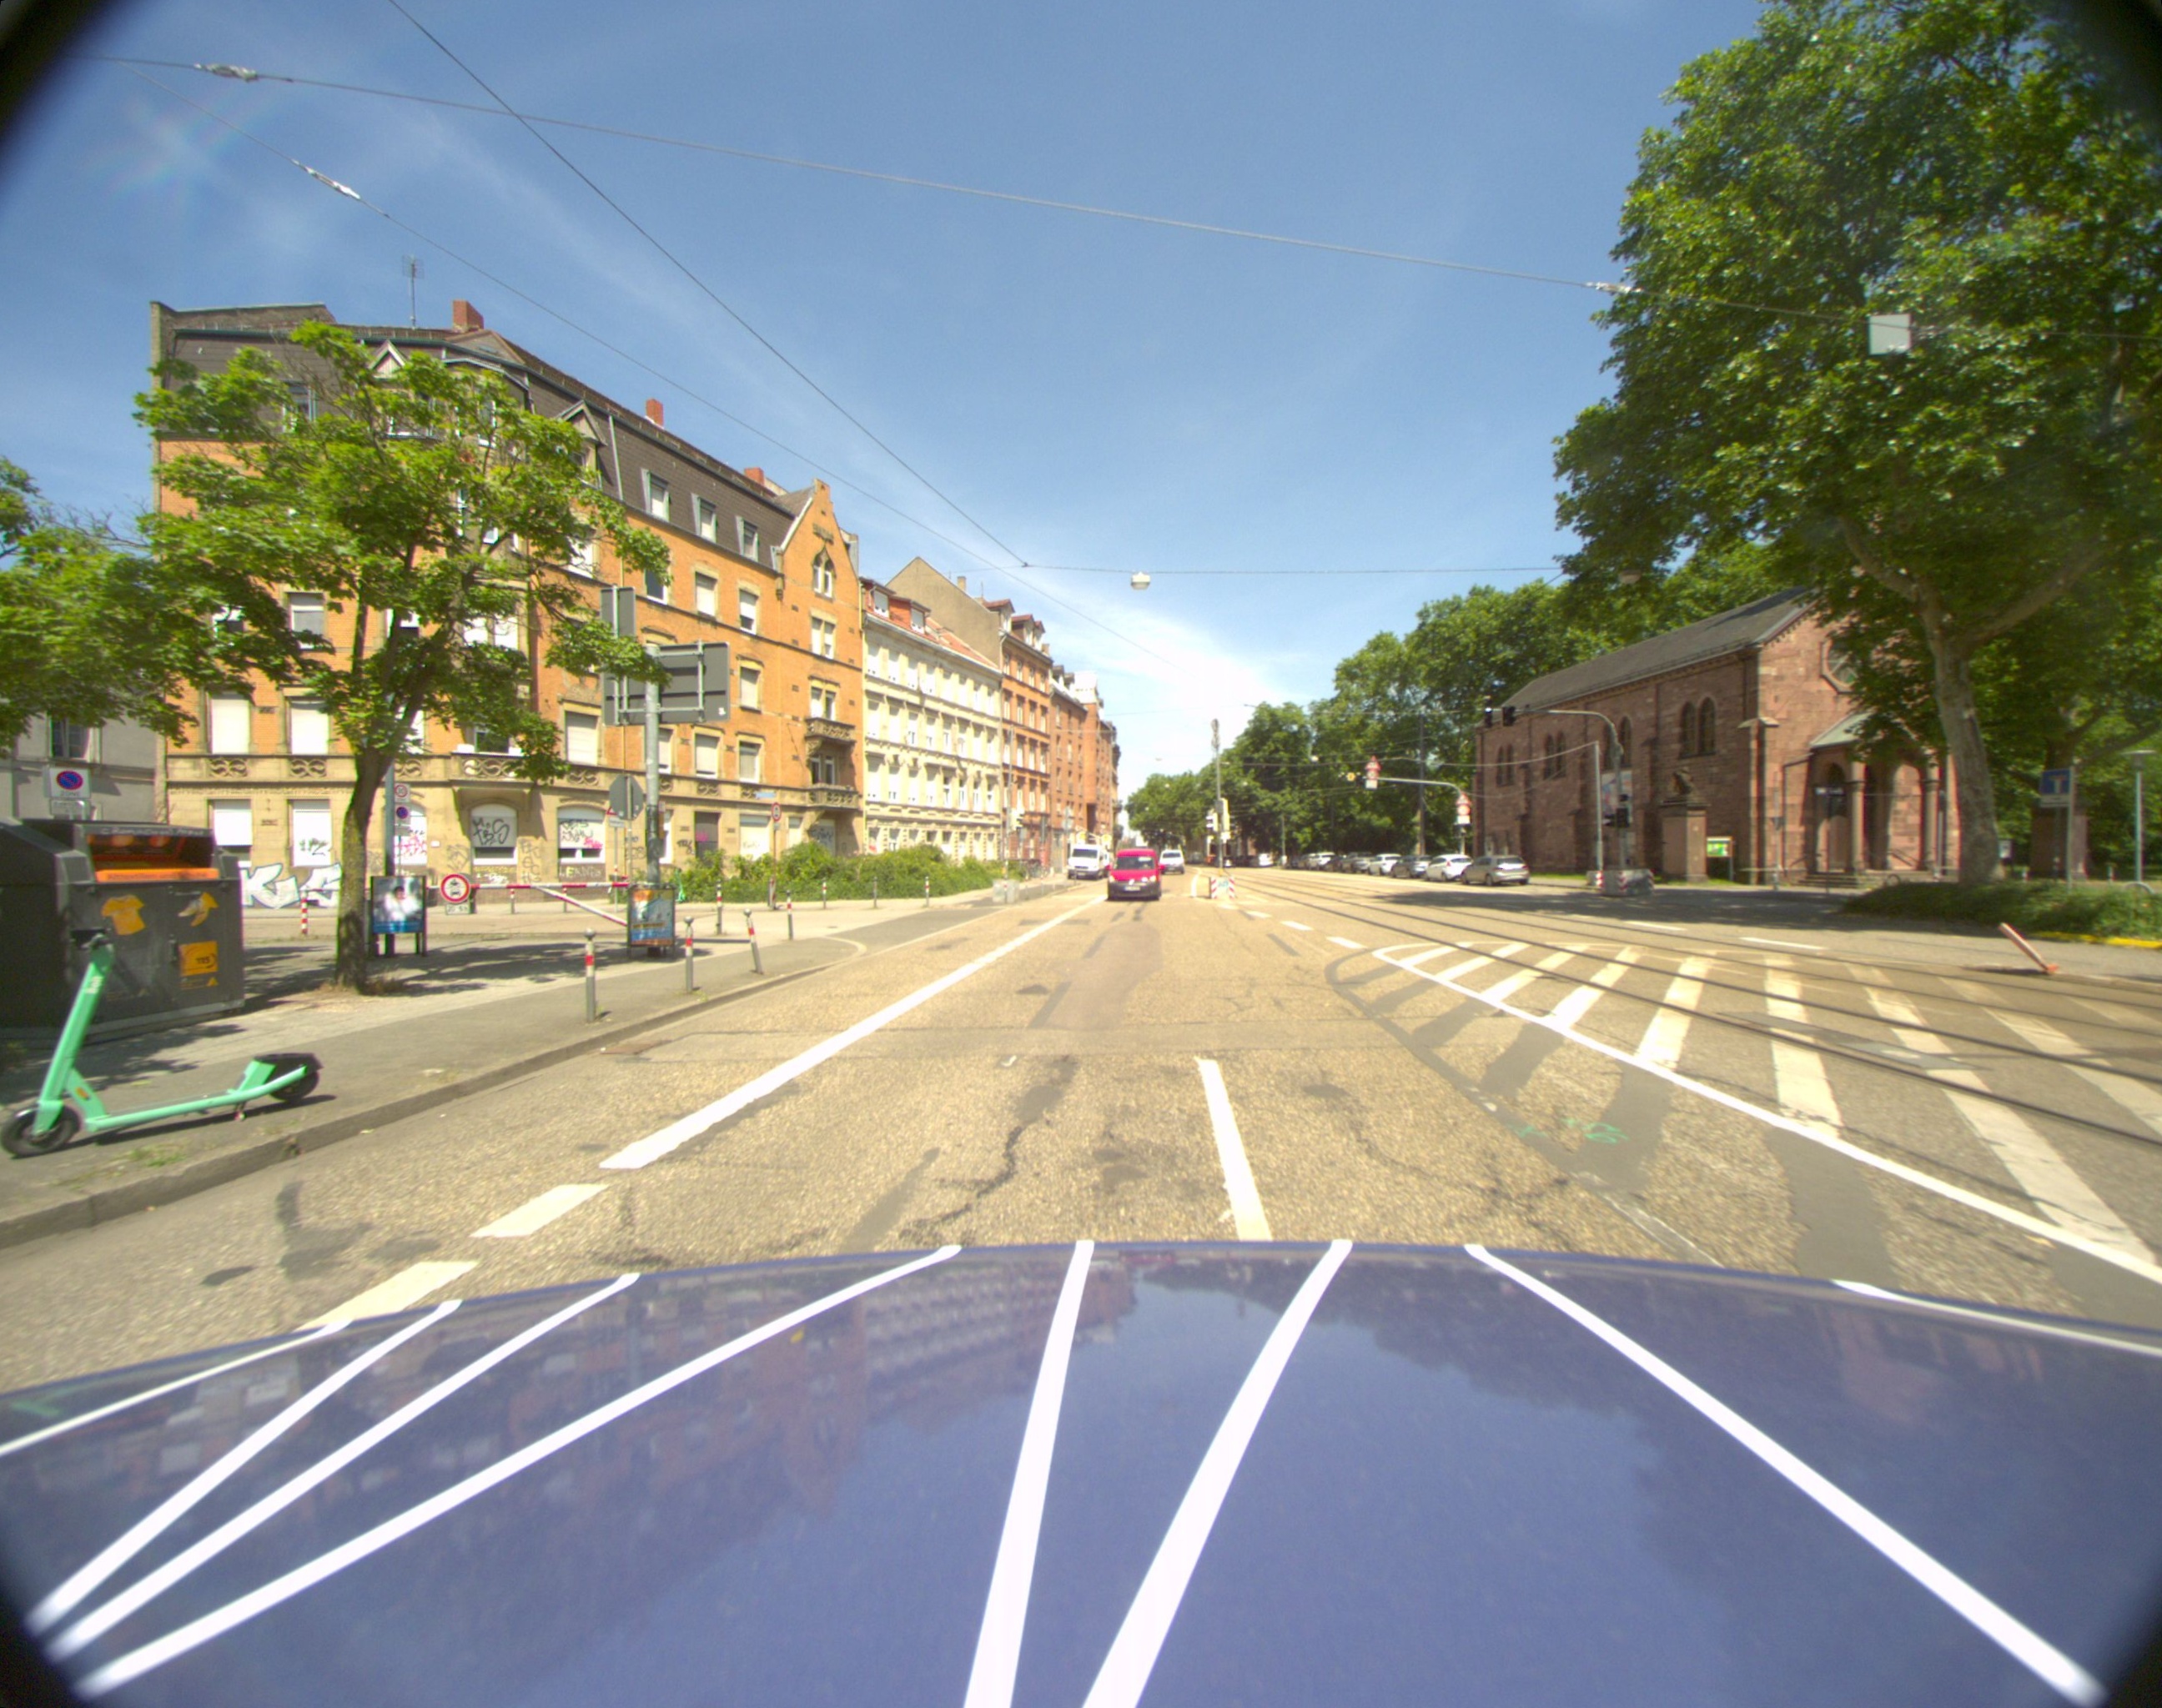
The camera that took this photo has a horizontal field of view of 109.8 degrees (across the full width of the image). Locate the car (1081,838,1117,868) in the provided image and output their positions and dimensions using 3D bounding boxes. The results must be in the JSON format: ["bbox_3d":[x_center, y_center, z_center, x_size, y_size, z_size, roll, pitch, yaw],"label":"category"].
[{"bbox_3d":[1.444,-0.081,57.966,1.997,2.123,5.275,2,1,8],"label":"car"}]

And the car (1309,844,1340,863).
[{"bbox_3d":[21.747,-0.031,68.008,1.746,1.643,3.906,-2,0,4],"label":"car"}]

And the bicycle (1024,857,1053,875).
[{"bbox_3d":[-2.910,0.844,51.842,1.918,1.174,0.493,-2,1,8],"label":"bicycle"}]

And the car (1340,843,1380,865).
[{"bbox_3d":[21.105,-0.005,57.562,1.747,1.514,3.754,-2,0,2],"label":"car"}]

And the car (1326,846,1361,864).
[{"bbox_3d":[21.677,0.059,62.909,1.671,1.368,4.000,-2,0,2],"label":"car"}]

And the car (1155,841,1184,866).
[{"bbox_3d":[7.243,-0.039,61.997,2.164,1.926,4.857,-2,0,8],"label":"car"}]

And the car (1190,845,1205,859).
[{"bbox_3d":[19.545,-0.387,127.437,1.821,2.284,3.762,-2,0,1],"label":"car"}]

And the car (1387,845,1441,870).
[{"bbox_3d":[20.547,0.216,47.075,1.662,1.450,4.059,-2,0,2],"label":"car"}]

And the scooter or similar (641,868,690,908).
[{"bbox_3d":[-13.327,1.077,24.417,0.490,1.198,1.489,-1,0,12],"label":"scooter or similar"}]

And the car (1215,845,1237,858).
[{"bbox_3d":[16.865,-0.288,88.628,1.750,1.387,4.347,-2,0,1],"label":"car"}]

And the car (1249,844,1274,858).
[{"bbox_3d":[21.607,-0.335,91.000,1.977,1.554,4.000,-2,0,0],"label":"car"}]

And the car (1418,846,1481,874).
[{"bbox_3d":[20.305,0.293,42.033,1.662,1.450,4.059,-2,0,4],"label":"car"}]

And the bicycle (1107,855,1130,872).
[{"bbox_3d":[3.350,0.872,68.591,1.936,1.497,0.666,-2,1,19],"label":"bicycle"}]

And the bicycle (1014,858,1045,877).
[{"bbox_3d":[-3.453,0.908,51.002,1.918,1.174,0.493,-2,1,8],"label":"bicycle"}]

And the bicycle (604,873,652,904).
[{"bbox_3d":[-15.434,1.169,25.902,0.490,0.986,1.489,-2,0,12],"label":"bicycle"}]

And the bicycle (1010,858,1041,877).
[{"bbox_3d":[-3.592,0.891,49.449,1.918,1.174,0.493,-2,1,8],"label":"bicycle"}]

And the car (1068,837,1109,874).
[{"bbox_3d":[0.577,0.064,51.303,1.997,2.317,5.410,2,1,9],"label":"car"}]

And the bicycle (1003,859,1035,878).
[{"bbox_3d":[-3.966,0.926,48.398,1.918,1.174,0.493,-2,1,8],"label":"bicycle"}]

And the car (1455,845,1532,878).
[{"bbox_3d":[20.012,0.332,37.047,1.662,1.450,4.222,-2,0,4],"label":"car"}]

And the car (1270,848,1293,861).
[{"bbox_3d":[22.270,0.004,84.495,1.649,1.372,3.766,-2,0,2],"label":"car"}]

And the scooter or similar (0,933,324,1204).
[{"bbox_3d":[-5.119,1.094,4.224,0.390,1.207,1.182,3,0,28],"label":"scooter or similar"}]

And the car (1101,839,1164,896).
[{"bbox_3d":[1.943,0.423,27.192,1.858,1.823,5.169,-2,0,7],"label":"car"}]

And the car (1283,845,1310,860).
[{"bbox_3d":[22.372,-0.121,79.012,1.747,1.489,4.188,-2,0,2],"label":"car"}]

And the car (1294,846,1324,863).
[{"bbox_3d":[21.911,0.034,73.011,1.747,1.489,4.188,-2,0,2],"label":"car"}]

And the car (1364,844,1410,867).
[{"bbox_3d":[21.060,0.080,52.434,1.747,1.450,3.754,-2,0,2],"label":"car"}]
